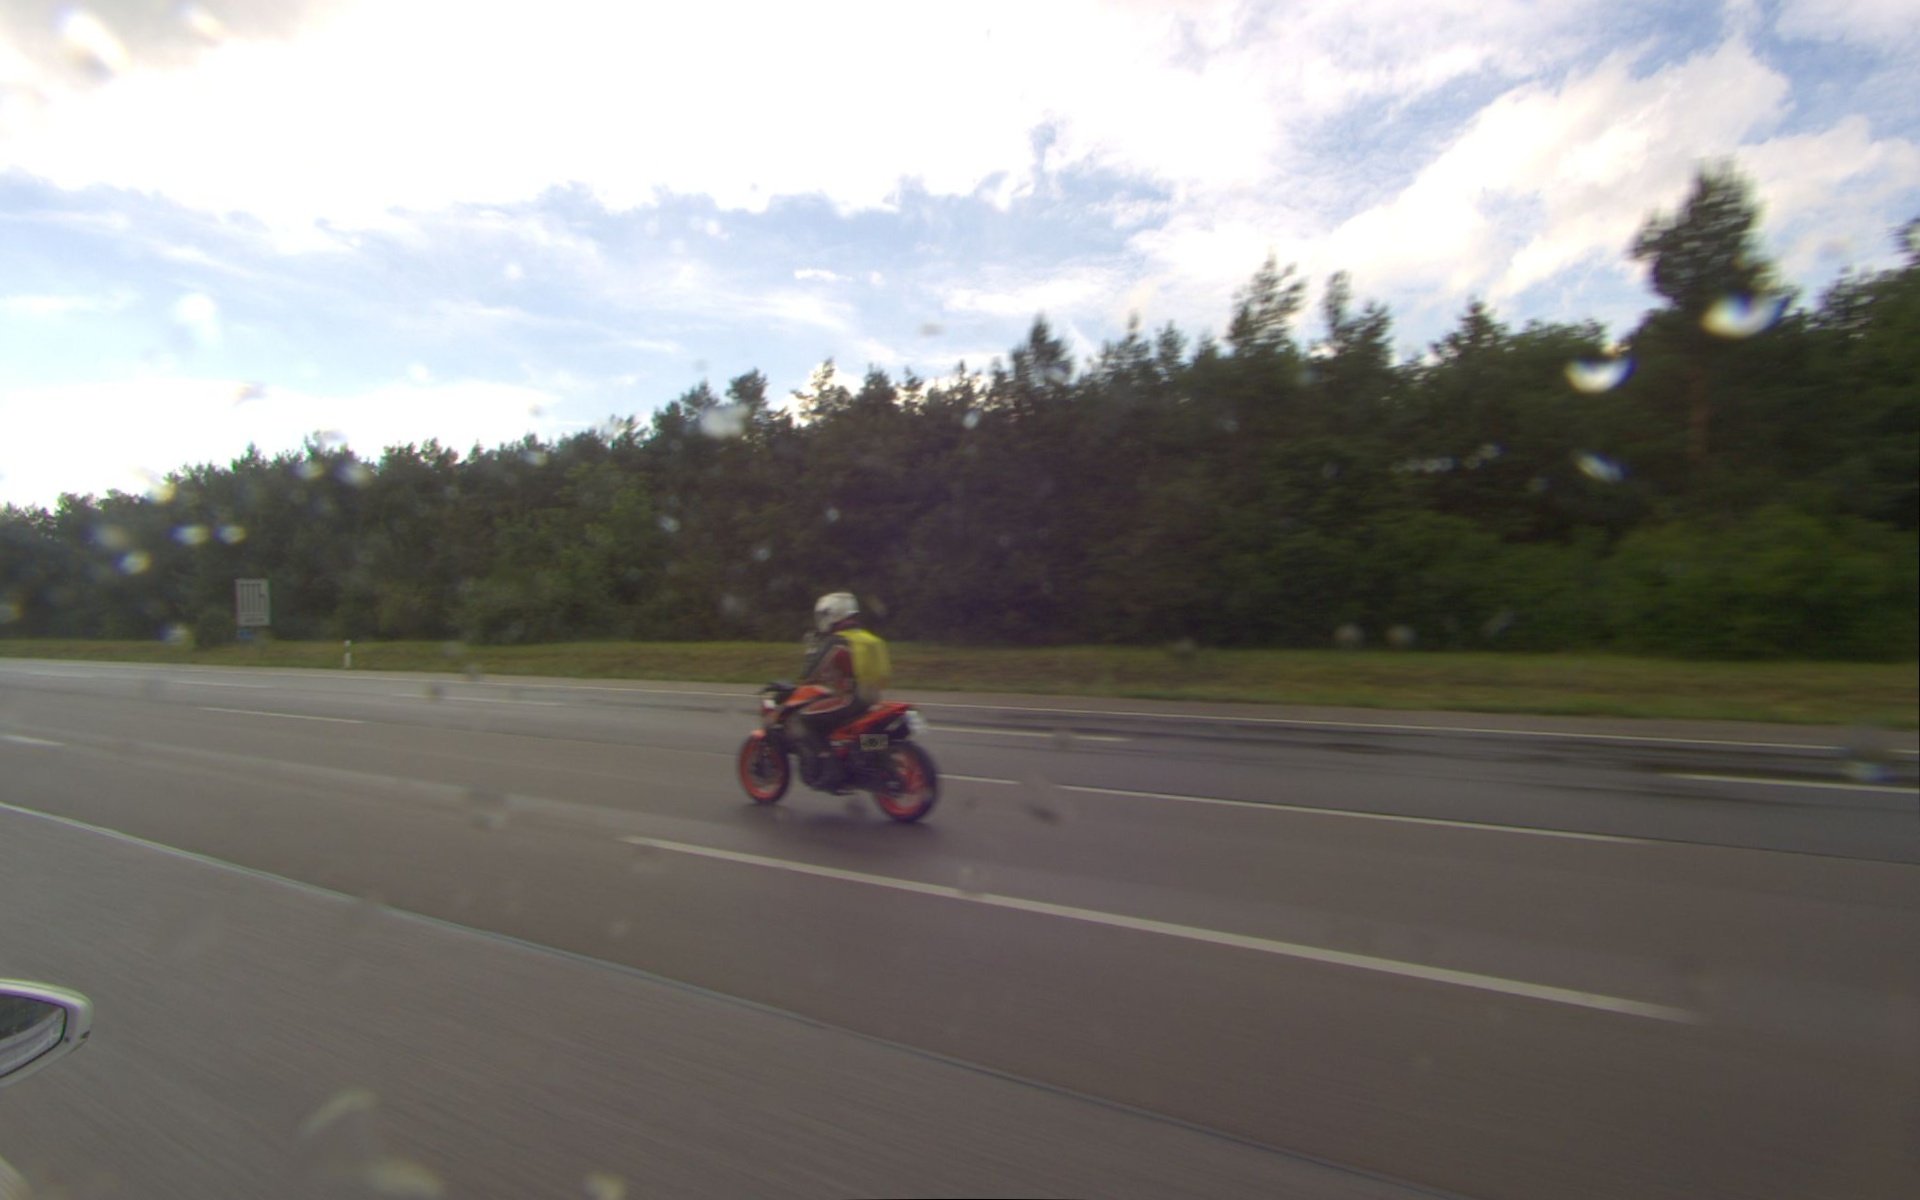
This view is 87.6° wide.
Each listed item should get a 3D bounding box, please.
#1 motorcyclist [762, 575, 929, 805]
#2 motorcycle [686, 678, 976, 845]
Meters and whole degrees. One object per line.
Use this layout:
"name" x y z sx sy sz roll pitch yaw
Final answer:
"motorcyclist" -0.879 0.660 7.781 0.945 1.635 0.889 -1 -1 33
"motorcycle" -1.040 1.187 7.874 2.143 1.044 0.998 -1 -1 33
